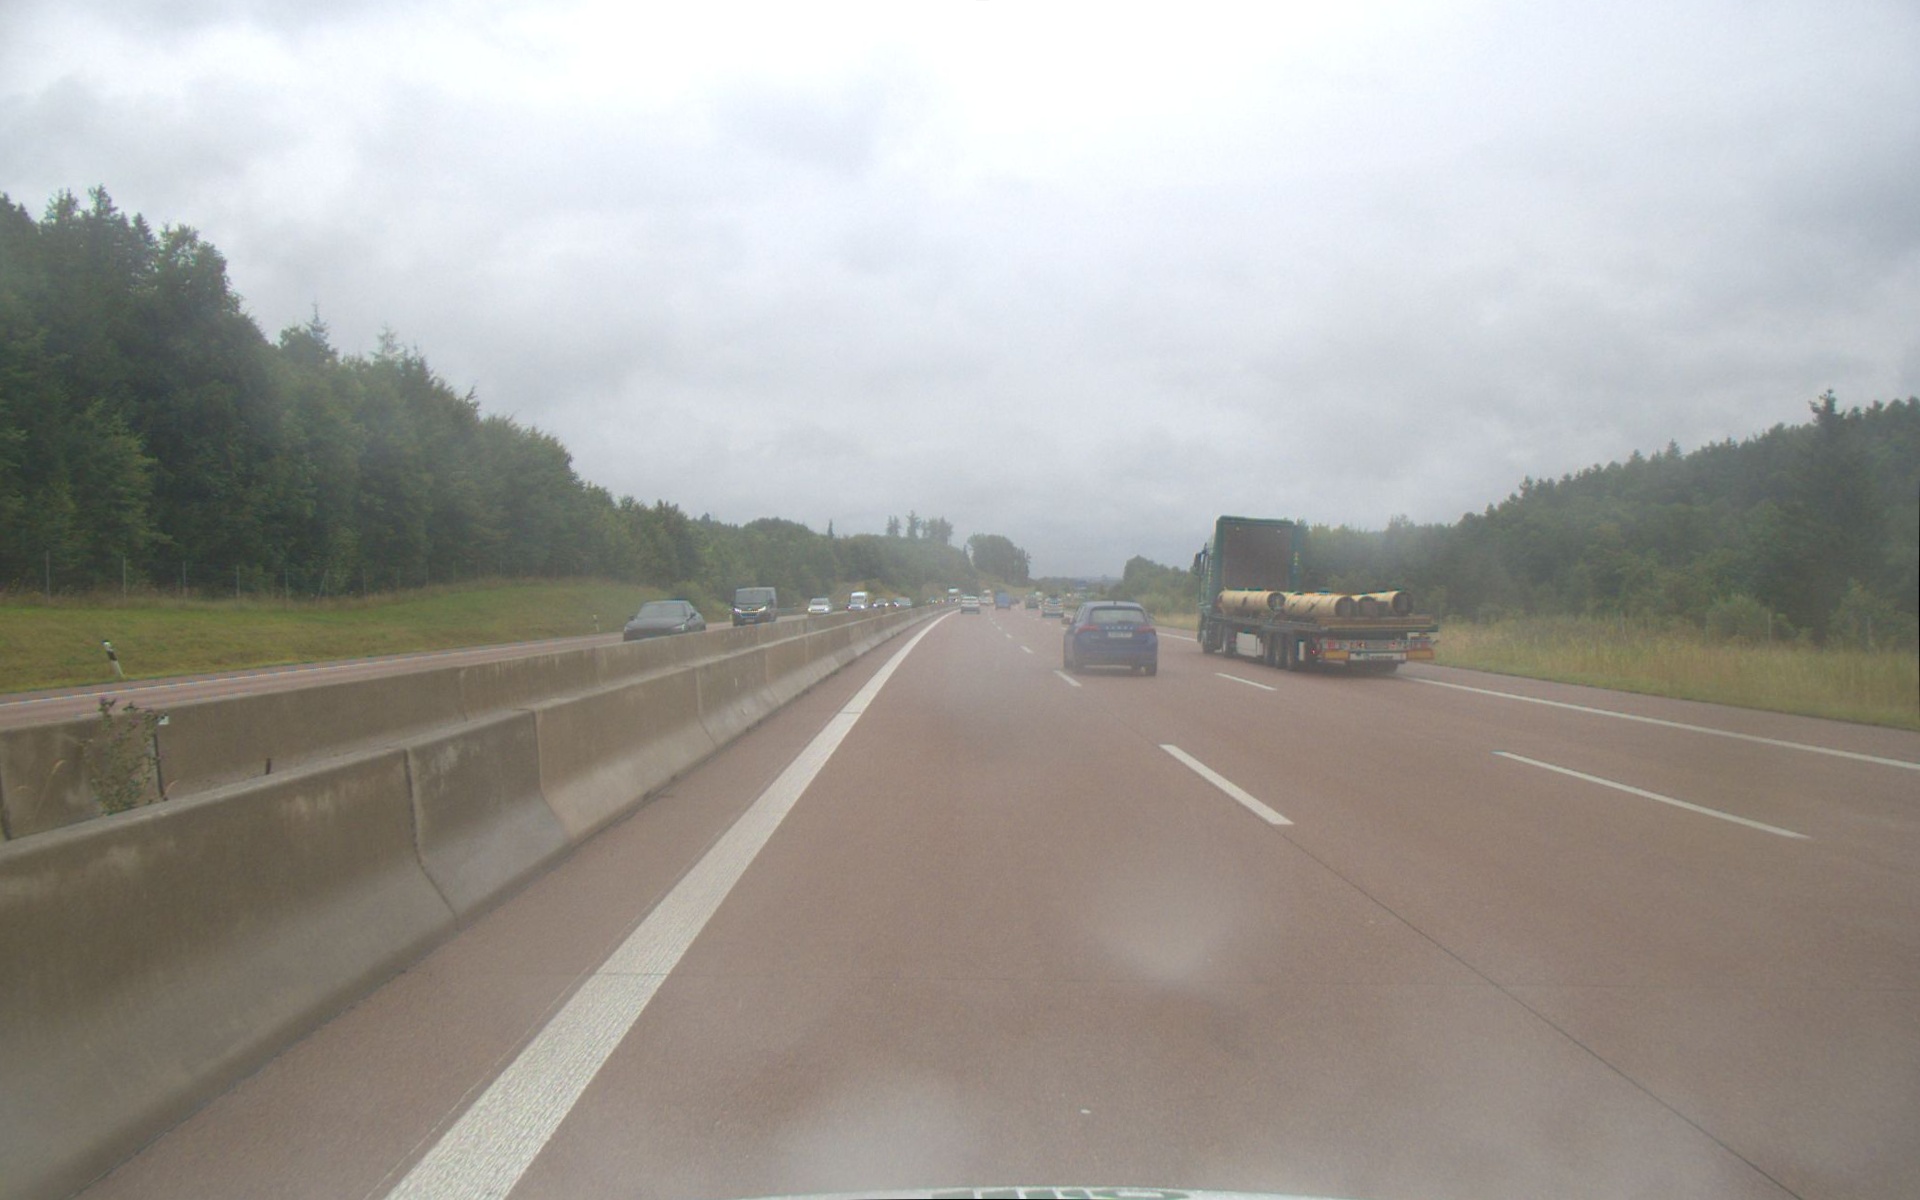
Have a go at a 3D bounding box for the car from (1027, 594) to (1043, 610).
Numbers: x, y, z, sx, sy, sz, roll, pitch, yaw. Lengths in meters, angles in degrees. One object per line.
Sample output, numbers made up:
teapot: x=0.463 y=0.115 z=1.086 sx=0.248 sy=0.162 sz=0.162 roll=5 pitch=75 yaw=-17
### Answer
car: x=10.111 y=0.311 z=224.177 sx=1.953 sy=2.049 sz=3.999 roll=1 pitch=-1 yaw=0

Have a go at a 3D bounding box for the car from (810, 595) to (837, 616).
car: x=-11.211 y=0.438 z=135.993 sx=1.752 sy=1.584 sz=4.865 roll=-2 pitch=0 yaw=0

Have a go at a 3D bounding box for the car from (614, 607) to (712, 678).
car: x=-8.509 y=1.214 z=47.856 sx=1.740 sy=1.889 sz=5.321 roll=1 pitch=-1 yaw=1

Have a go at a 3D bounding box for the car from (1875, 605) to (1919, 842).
car: x=7.494 y=0.828 z=9.506 sx=1.663 sy=1.640 sz=4.975 roll=0 pitch=-1 yaw=-1

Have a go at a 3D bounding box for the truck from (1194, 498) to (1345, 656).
truck: x=8.468 y=-0.529 z=46.123 sx=2.838 sy=4.034 sz=6.987 roll=1 pitch=-1 yaw=0

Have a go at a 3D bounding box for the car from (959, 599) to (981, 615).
car: x=0.963 y=0.677 z=156.047 sx=1.836 sy=1.470 sz=4.874 roll=1 pitch=-1 yaw=-2

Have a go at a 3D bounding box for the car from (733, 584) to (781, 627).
car: x=-11.372 y=0.331 z=93.132 sx=2.060 sy=2.319 sz=5.394 roll=1 pitch=-1 yaw=-1

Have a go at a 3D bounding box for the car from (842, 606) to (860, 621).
car: x=-11.618 y=1.444 z=177.024 sx=1.616 sy=1.414 sz=4.810 roll=-3 pitch=0 yaw=-1

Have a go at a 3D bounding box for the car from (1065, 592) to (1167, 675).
car: x=3.219 y=0.702 z=34.795 sx=1.735 sy=1.591 sz=4.146 roll=1 pitch=-1 yaw=0

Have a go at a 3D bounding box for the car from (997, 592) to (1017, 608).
car: x=5.759 y=0.001 z=202.824 sx=2.275 sy=1.780 sz=4.876 roll=1 pitch=-1 yaw=0

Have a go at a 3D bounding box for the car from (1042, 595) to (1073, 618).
car: x=8.117 y=0.570 z=138.427 sx=2.275 sy=1.780 sz=4.876 roll=1 pitch=-1 yaw=0

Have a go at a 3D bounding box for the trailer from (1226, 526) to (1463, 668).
trailer: x=8.473 y=0.044 z=38.201 sx=2.822 sy=2.722 sz=11.397 roll=1 pitch=-1 yaw=0

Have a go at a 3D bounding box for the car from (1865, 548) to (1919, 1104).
car: x=3.822 y=0.631 z=2.226 sx=1.953 sy=1.620 sz=5.818 roll=1 pitch=-1 yaw=-1
